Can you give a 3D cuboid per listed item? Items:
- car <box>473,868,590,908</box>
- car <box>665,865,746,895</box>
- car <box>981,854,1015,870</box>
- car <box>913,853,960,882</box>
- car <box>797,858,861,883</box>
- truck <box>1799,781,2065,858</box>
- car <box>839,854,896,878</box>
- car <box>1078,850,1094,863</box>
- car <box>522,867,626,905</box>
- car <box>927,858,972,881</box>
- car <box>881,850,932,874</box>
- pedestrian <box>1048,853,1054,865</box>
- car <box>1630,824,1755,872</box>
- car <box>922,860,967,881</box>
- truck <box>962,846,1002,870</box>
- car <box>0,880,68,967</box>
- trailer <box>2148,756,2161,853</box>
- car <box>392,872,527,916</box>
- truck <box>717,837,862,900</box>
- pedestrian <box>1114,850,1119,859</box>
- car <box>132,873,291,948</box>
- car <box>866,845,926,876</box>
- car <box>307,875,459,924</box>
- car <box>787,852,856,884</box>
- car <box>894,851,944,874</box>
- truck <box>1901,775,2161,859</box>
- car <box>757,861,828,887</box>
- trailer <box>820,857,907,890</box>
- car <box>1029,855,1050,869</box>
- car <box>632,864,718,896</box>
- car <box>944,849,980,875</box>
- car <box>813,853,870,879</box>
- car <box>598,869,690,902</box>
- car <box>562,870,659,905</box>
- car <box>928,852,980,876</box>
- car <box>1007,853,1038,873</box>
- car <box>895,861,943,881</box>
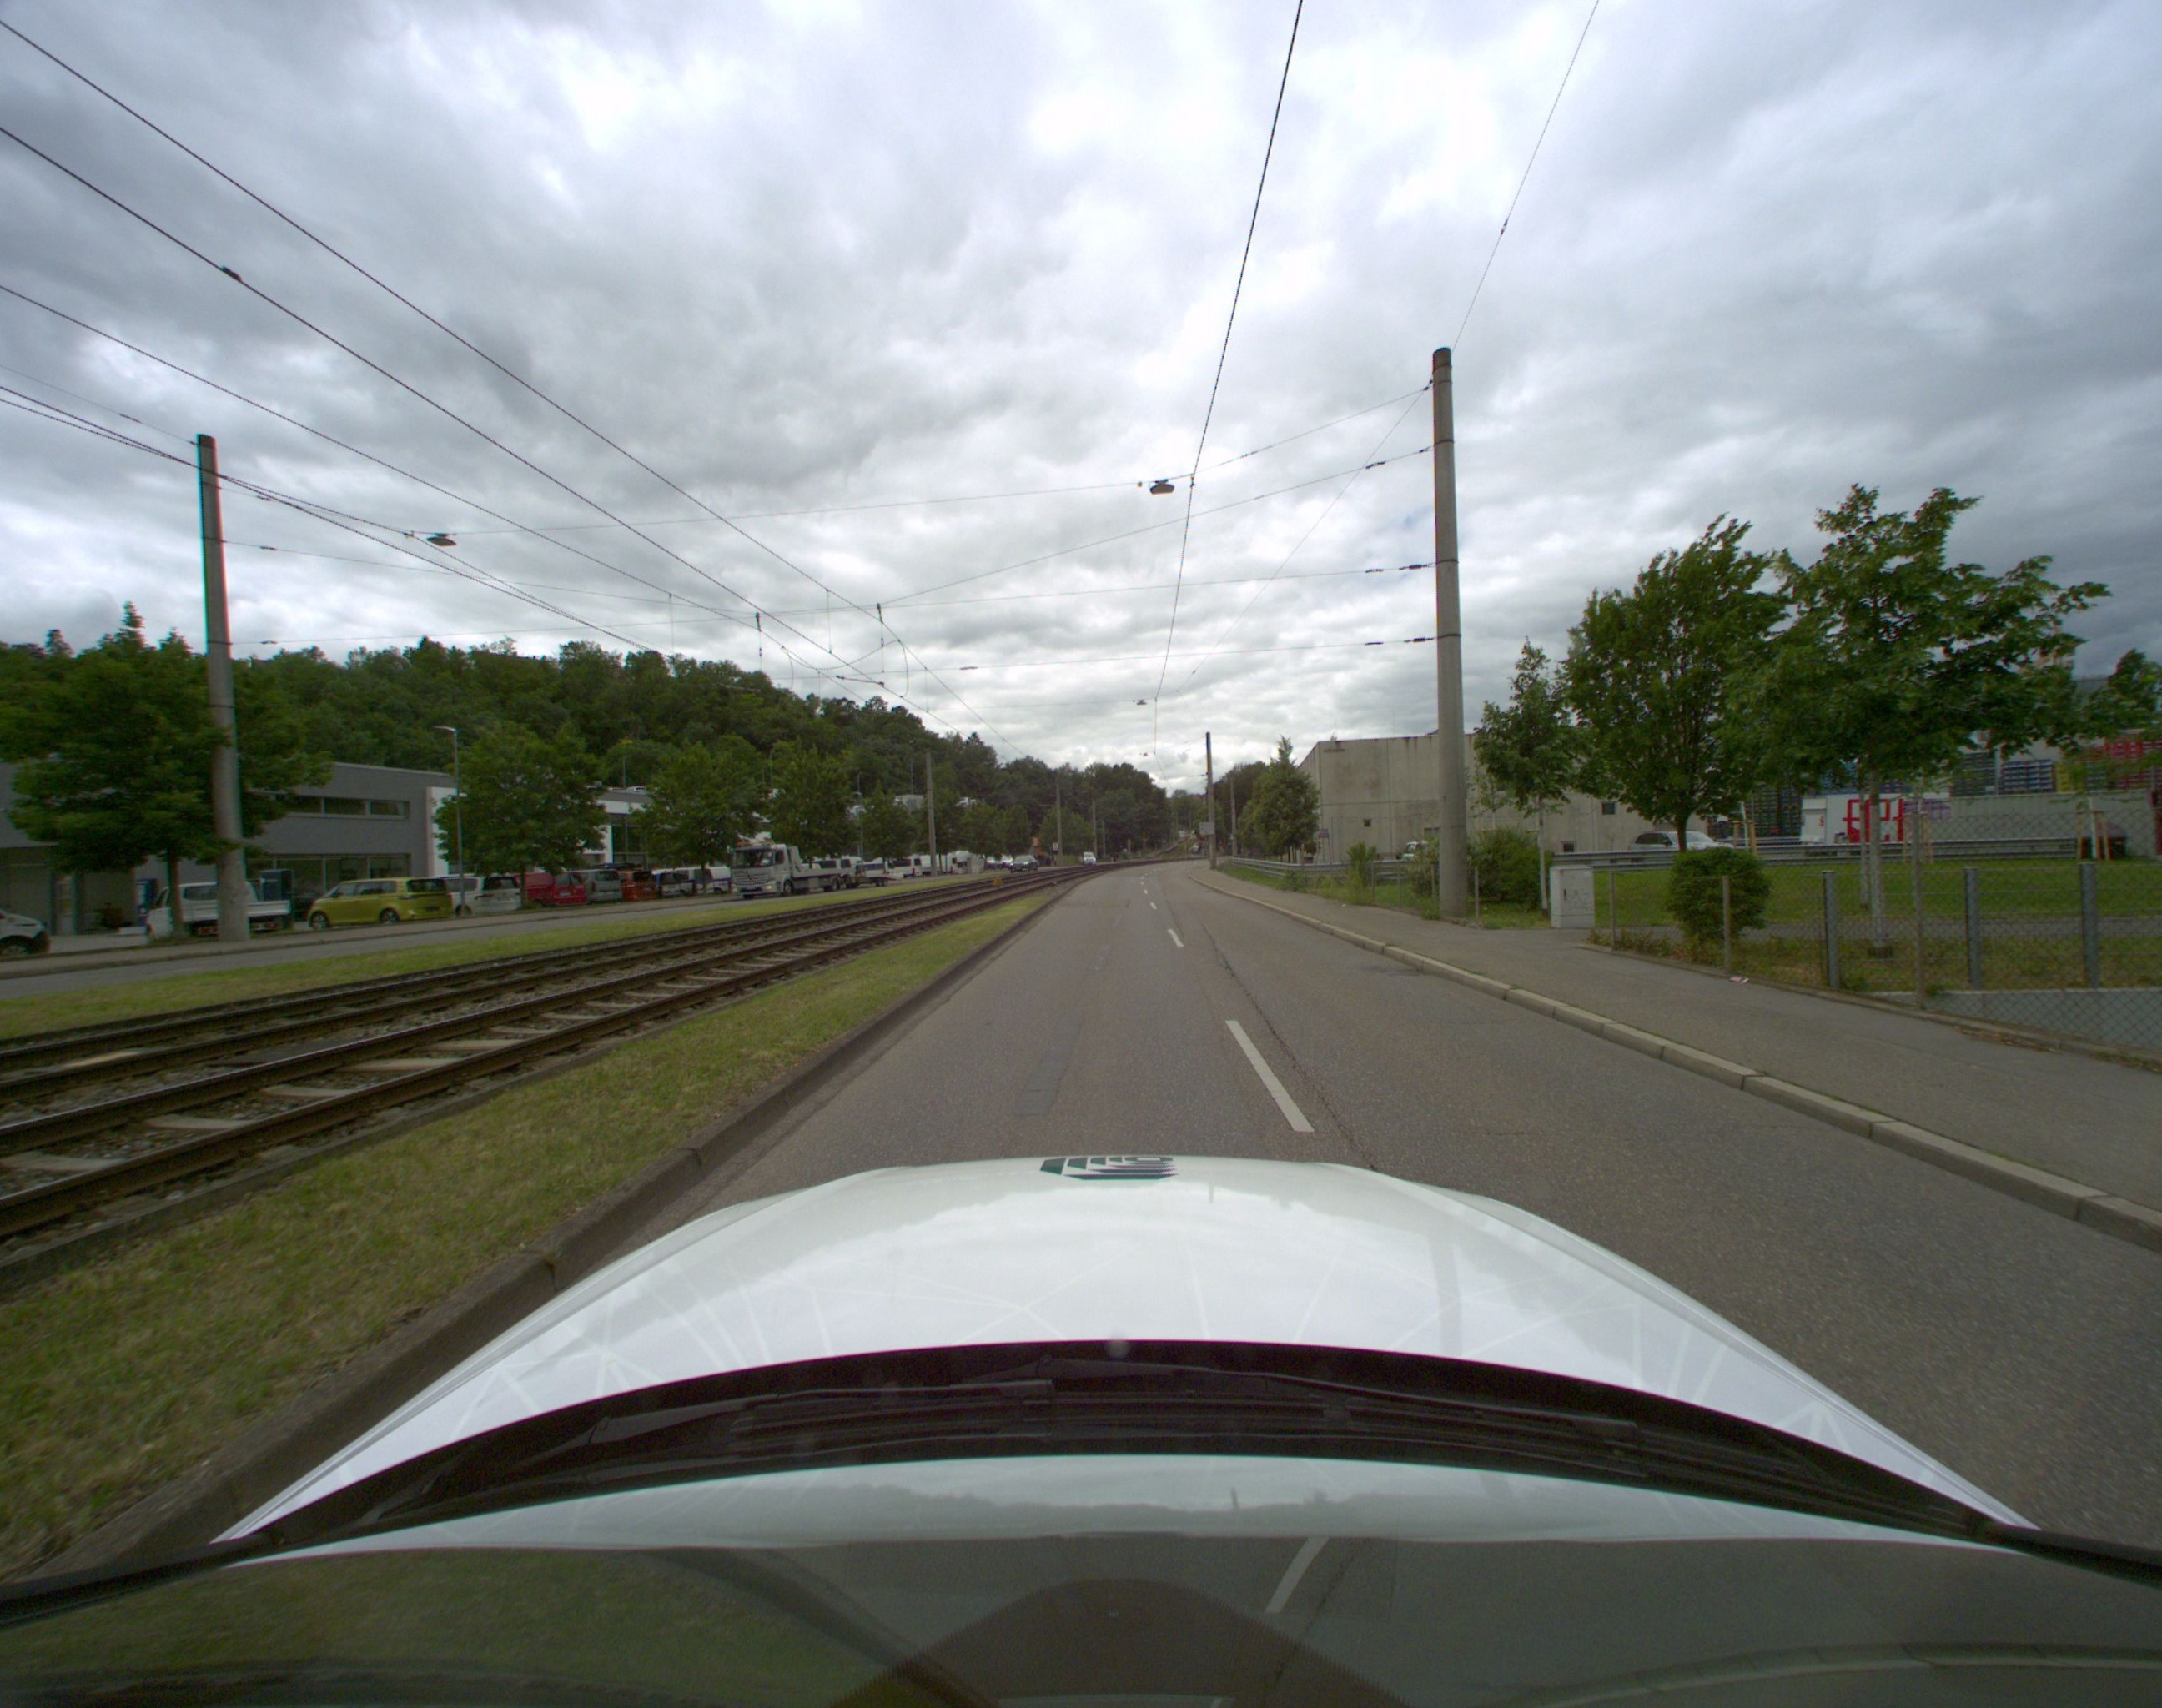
[{"bbox_3d":[-24.753,1.541,36.727,4.148,1.618,2.071,-2,0,14],"label":"car"},{"bbox_3d":[-22.431,1.520,48.673,3.958,1.618,2.008,-2,0,14],"label":"car"},{"bbox_3d":[-11.764,1.124,115.489,4.670,2.013,2.013,-2,0,40],"label":"car"},{"bbox_3d":[-15.236,1.425,85.810,4.340,2.819,2.009,-2,0,8],"label":"car"},{"bbox_3d":[-19.946,1.314,64.448,4.335,1.845,2.011,-2,0,13],"label":"car"},{"bbox_3d":[36.199,-1.409,35.028,7.680,3.037,2.362,1,-1,20],"label":"truck"},{"bbox_3d":[-18.790,1.035,71.702,4.340,2.010,2.009,-2,0,8],"label":"car"},{"bbox_3d":[0.837,0.385,128.868,2.155,1.888,5.065,0,0,-4],"label":"car"},{"bbox_3d":[-24.486,1.536,39.394,3.958,1.664,2.056,-2,0,14],"label":"car"},{"bbox_3d":[-14.674,1.677,90.751,4.341,2.105,2.009,5,1,8],"label":"car"},{"bbox_3d":[-16.787,0.748,78.374,4.340,2.173,2.009,-2,0,8],"label":"car"},{"bbox_3d":[-4.031,0.654,110.103,0.714,1.655,1.044,0,0,5],"label":"pedestrian"},{"bbox_3d":[24.216,-0.230,32.511,1.901,1.720,4.698,-2,0,7],"label":"car"},{"bbox_3d":[-14.722,1.762,88.116,4.340,2.105,2.009,-2,0,8],"label":"car"},{"bbox_3d":[-13.857,0.565,113.629,5.863,3.085,2.133,-2,0,42],"label":"truck"},{"bbox_3d":[-26.647,1.678,18.066,1.983,2.013,4.871,-2,0,7],"label":"car"},{"bbox_3d":[42.989,-1.918,28.697,2.881,3.962,10.088,-2,1,30],"label":"trailer"},{"bbox_3d":[-25.695,1.633,33.723,4.314,1.618,2.128,-2,0,14],"label":"car"},{"bbox_3d":[-14.839,0.653,42.500,2.739,2.741,9.244,-4,0,10],"label":"truck"},{"bbox_3d":[6.748,0.103,154.742,0.623,1.713,0.859,0,0,15],"label":"pedestrian"},{"bbox_3d":[-26.934,1.713,25.179,5.641,2.008,2.157,-2,0,31],"label":"car"},{"bbox_3d":[-17.160,0.588,75.666,4.937,2.698,2.120,-2,0,8],"label":"car"},{"bbox_3d":[-26.204,1.699,30.633,4.305,1.618,2.162,-2,0,14],"label":"car"},{"bbox_3d":[-19.643,1.057,61.676,4.465,2.311,2.133,-2,0,13],"label":"car"},{"bbox_3d":[-16.005,0.827,80.685,4.340,2.173,2.009,-2,0,8],"label":"car"},{"bbox_3d":[37.221,-1.369,31.400,7.692,3.037,2.633,1,-1,13],"label":"truck"},{"bbox_3d":[-20.876,1.426,59.063,4.340,1.688,2.036,-2,0,9],"label":"car"},{"bbox_3d":[-13.305,1.130,50.454,2.367,1.698,6.968,-4,-1,10],"label":"trailer"},{"bbox_3d":[-6.345,1.266,125.166,1.981,2.013,5.146,-2,0,11],"label":"car"},{"bbox_3d":[-23.046,1.467,46.306,3.958,1.618,2.008,-2,0,14],"label":"car"},{"bbox_3d":[-14.513,0.935,99.448,2.092,3.019,5.960,-2,0,15],"label":"car"},{"bbox_3d":[-26.534,1.333,90.302,5.948,2.602,1.992,-2,0,-17],"label":"car"},{"bbox_3d":[-23.606,1.705,44.054,3.958,1.618,2.008,-2,0,14],"label":"car"},{"bbox_3d":[-24.068,1.715,41.692,3.958,1.618,2.008,-2,0,14],"label":"car"},{"bbox_3d":[-14.603,1.148,93.664,5.435,2.602,2.254,-2,0,12],"label":"car"},{"bbox_3d":[-5.498,0.868,76.843,1.983,1.739,4.542,-4,-1,6],"label":"car"},{"bbox_3d":[-16.579,1.745,83.555,4.340,1.910,2.009,-2,0,8],"label":"car"}]
